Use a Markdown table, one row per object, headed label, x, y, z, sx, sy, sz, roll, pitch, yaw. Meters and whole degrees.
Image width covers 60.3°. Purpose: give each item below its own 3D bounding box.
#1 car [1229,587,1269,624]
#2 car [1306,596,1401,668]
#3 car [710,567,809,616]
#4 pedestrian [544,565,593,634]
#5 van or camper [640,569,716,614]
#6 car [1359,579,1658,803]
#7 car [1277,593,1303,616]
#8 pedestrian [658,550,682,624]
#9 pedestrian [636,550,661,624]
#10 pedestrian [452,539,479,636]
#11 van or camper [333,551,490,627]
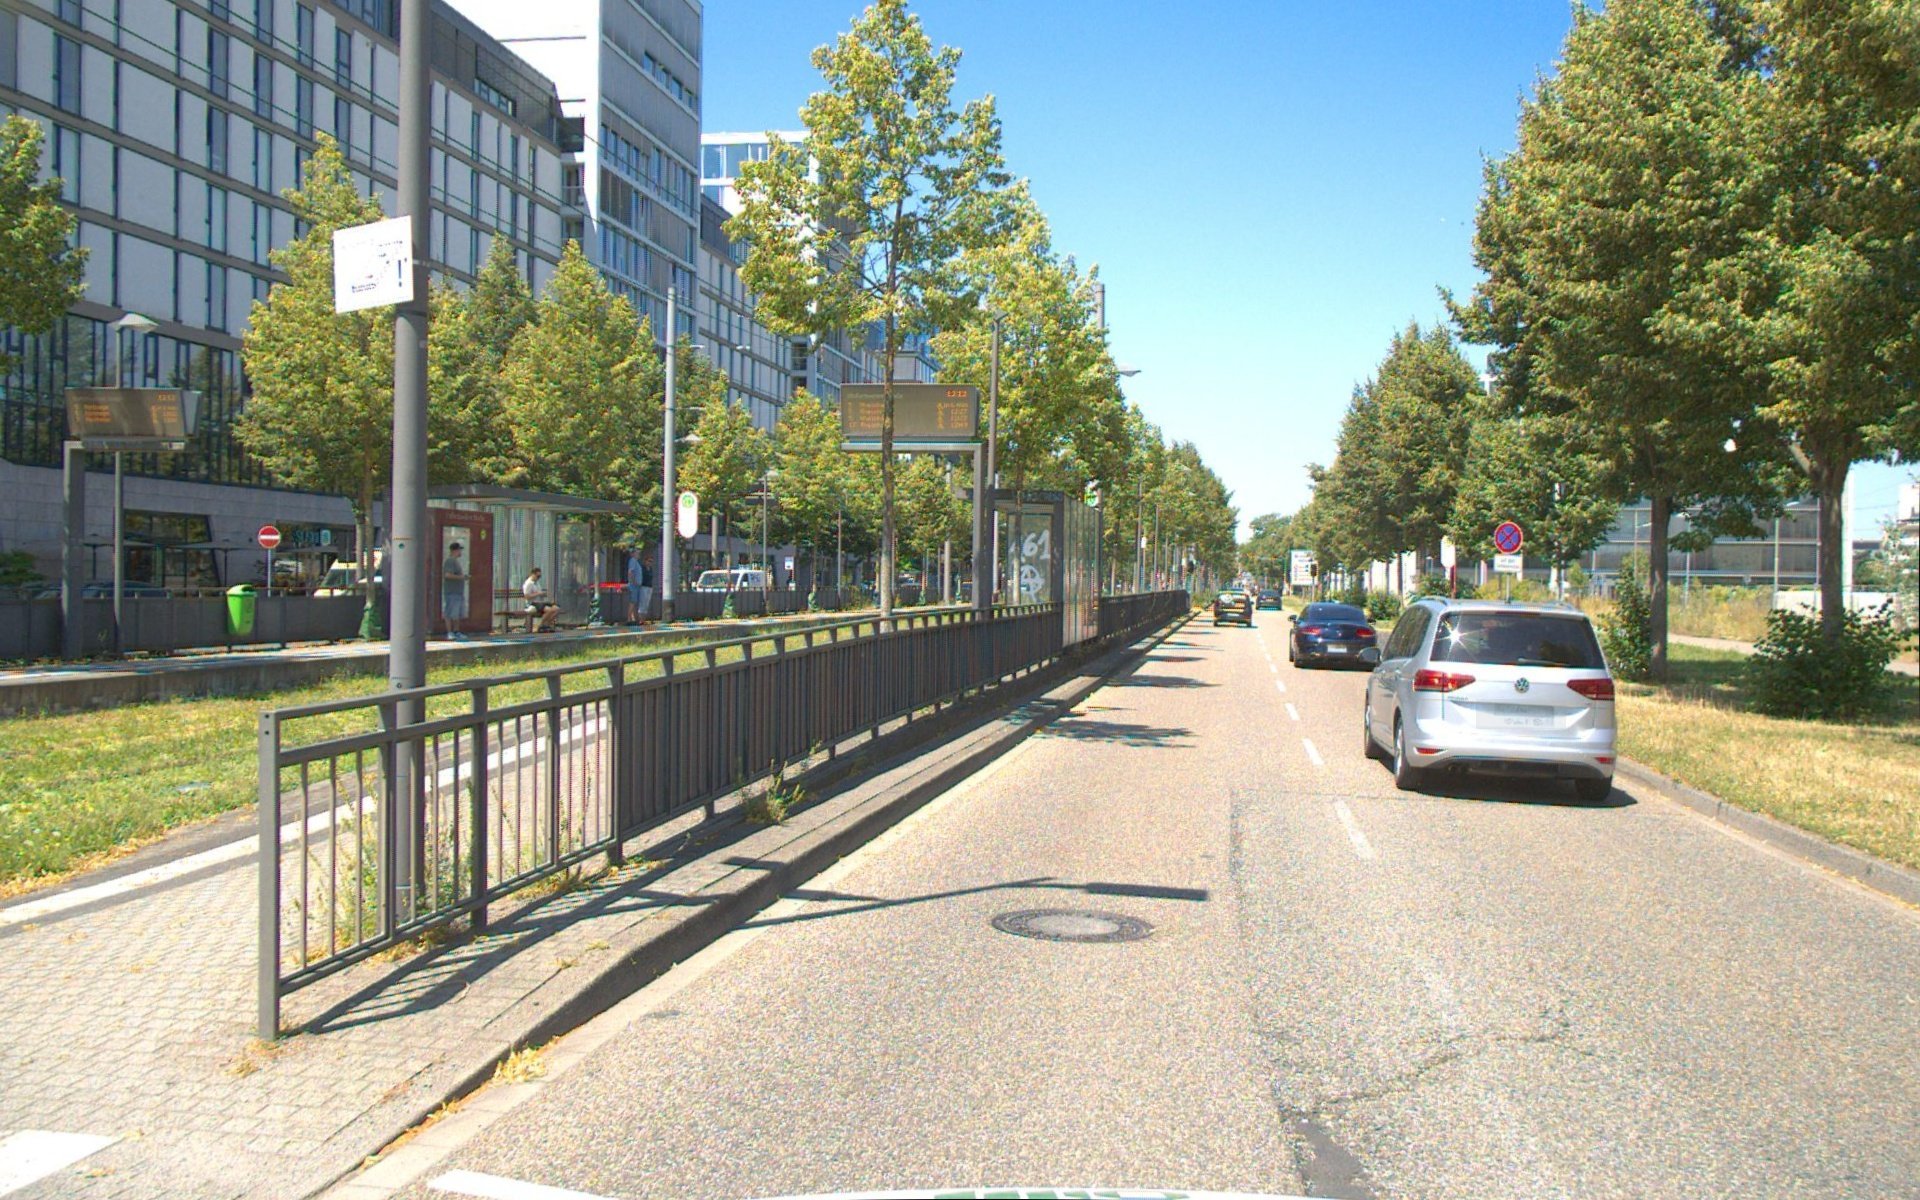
| label | x | y | z | sx | sy | sz | roll | pitch | yaw |
| --- | --- | --- | --- | --- | --- | --- | --- | --- | --- |
| car | 12.118 | 0.243 | 69.274 | 1.584 | 1.477 | 3.989 | 1 | -1 | 11 |
| car | 8.687 | 0.662 | 36.854 | 1.812 | 1.461 | 4.959 | 1 | 0 | 11 |
| car | -7.838 | -0.324 | 65.130 | 2.409 | 1.837 | 5.075 | 1 | 0 | 11 |
| pedestrian | -8.397 | -0.011 | 35.510 | 0.816 | 1.438 | 0.643 | 1 | 0 | 10 |
| van or camper | -9.473 | -0.279 | 55.747 | 1.444 | 1.452 | 3.431 | 1 | 0 | 10 |
| car | 4.859 | 0.725 | 15.309 | 1.762 | 1.677 | 4.608 | 2 | 0 | 8 |
| car | 23.949 | 0.335 | 120.127 | 1.728 | 1.655 | 3.719 | 1 | 0 | 9 |
| pedestrian | -7.127 | -0.319 | 40.713 | 0.400 | 1.782 | 0.586 | 1 | 0 | 7 |
| pedestrian | -7.558 | -0.318 | 40.115 | 0.400 | 1.782 | 0.586 | 1 | 0 | 7 |
| pedestrian | -9.146 | -0.227 | 30.586 | 0.458 | 1.769 | 0.476 | 1 | 0 | -19 |
| van or camper | -18.734 | -0.366 | 56.974 | 2.130 | 2.428 | 6.778 | 1 | 0 | 10 |
